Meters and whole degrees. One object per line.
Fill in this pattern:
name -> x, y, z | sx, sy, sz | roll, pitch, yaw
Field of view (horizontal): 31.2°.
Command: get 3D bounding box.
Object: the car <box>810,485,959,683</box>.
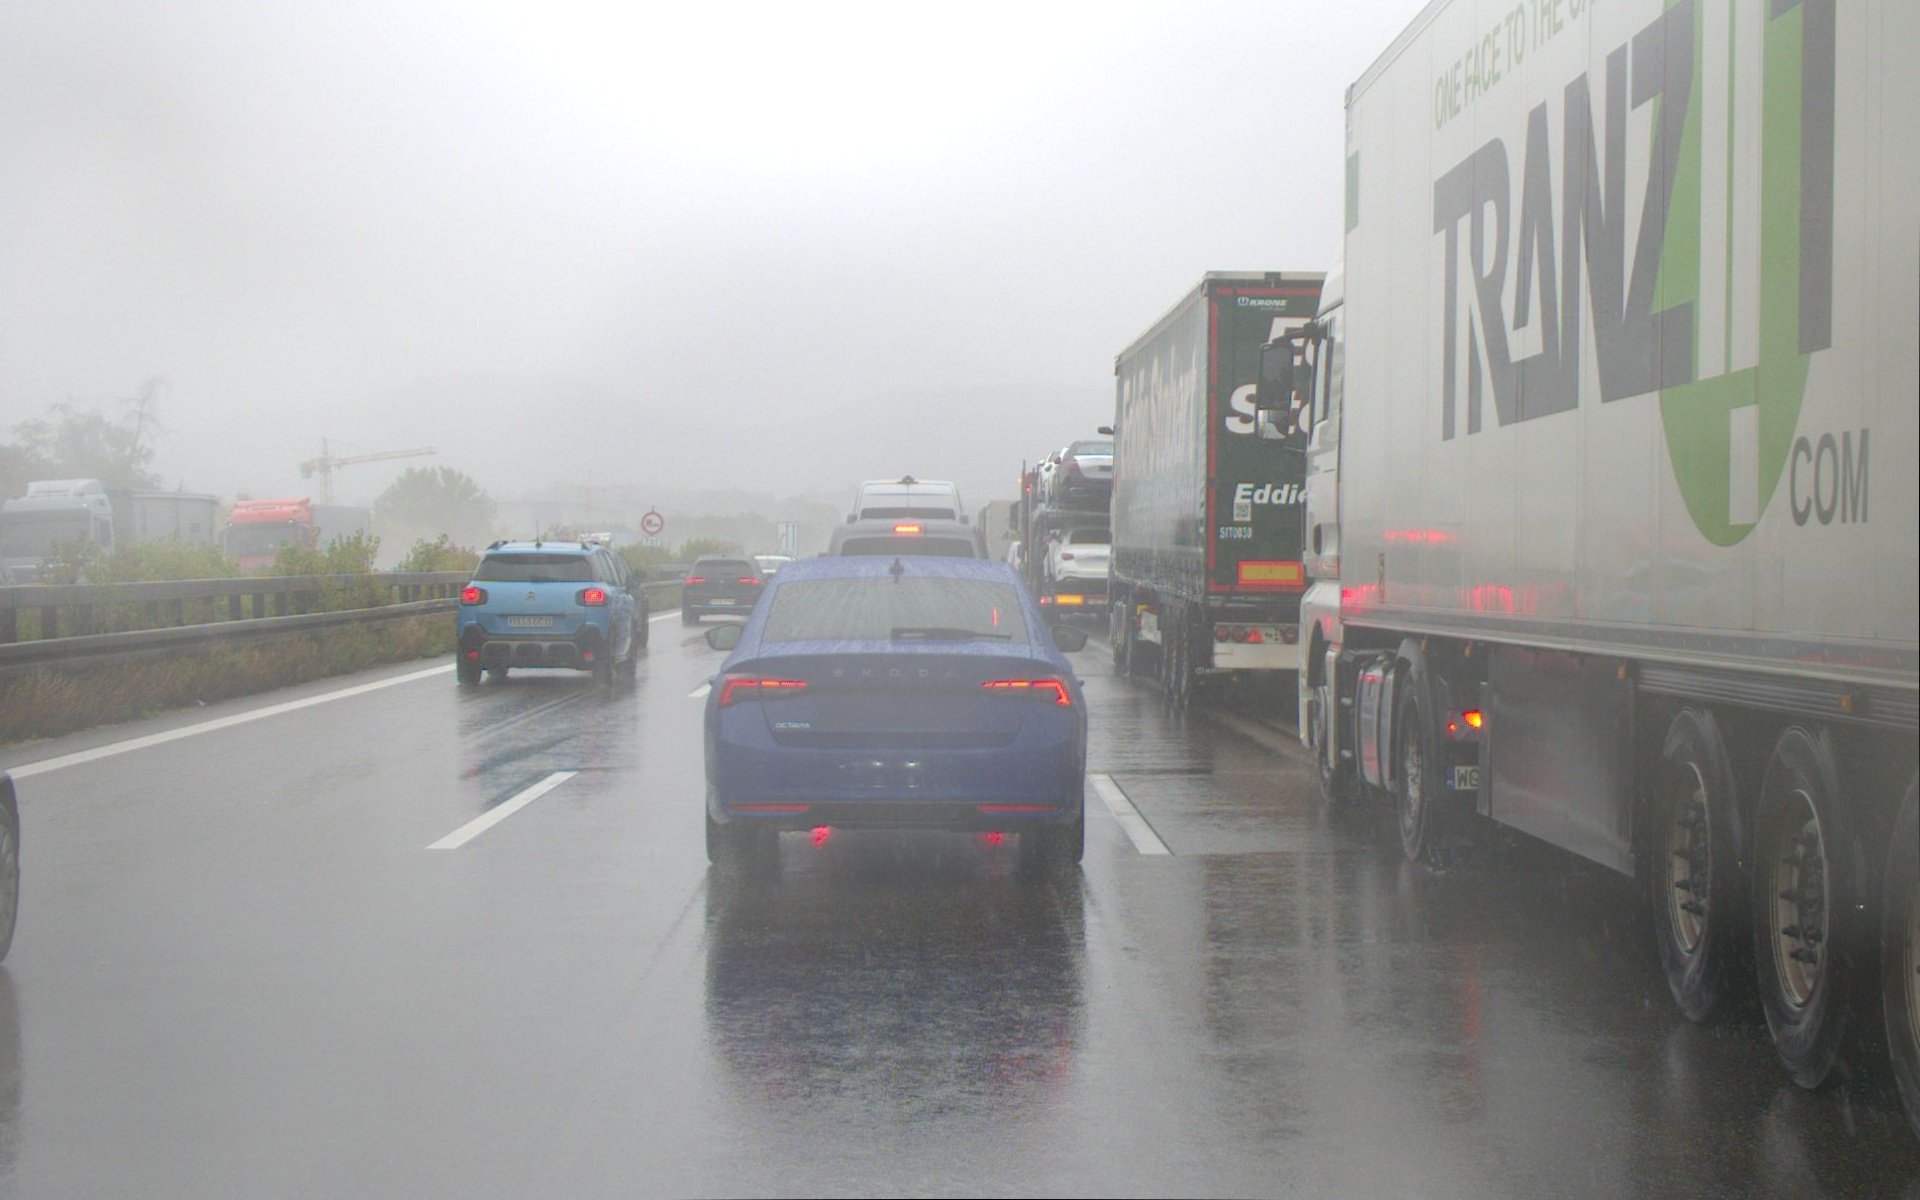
car -> -0.694, -0.185, 32.487 | 1.336, 1.773, 3.322 | 0, 1, 0

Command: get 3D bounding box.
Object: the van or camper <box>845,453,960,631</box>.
van or camper -> -0.928, -0.962, 56.429 | 1.797, 2.797, 4.768 | 0, 1, 0

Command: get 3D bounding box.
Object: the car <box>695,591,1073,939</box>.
car -> -0.320, 0.707, 16.858 | 1.635, 1.440, 4.000 | 0, 1, 0

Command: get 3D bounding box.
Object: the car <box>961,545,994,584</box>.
car -> 0.710, -1.450, 138.857 | 1.248, 1.507, 3.108 | -1, 2, -1

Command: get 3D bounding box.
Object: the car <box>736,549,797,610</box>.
car -> -5.059, -0.556, 90.280 | 1.439, 1.528, 3.322 | 0, 1, 0

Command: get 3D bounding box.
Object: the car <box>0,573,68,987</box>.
car -> -4.125, 0.636, 10.396 | 1.718, 1.395, 4.230 | 0, 1, 1

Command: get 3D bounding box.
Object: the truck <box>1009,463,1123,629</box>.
truck -> 2.236, -1.231, 74.602 | 1.993, 3.410, 8.033 | 0, 2, -2

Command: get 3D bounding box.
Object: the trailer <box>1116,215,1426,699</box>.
trailer -> 2.932, -1.360, 35.295 | 2.047, 4.162, 11.449 | 0, 1, 0

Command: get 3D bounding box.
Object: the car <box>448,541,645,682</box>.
car -> -4.639, 0.091, 39.075 | 1.722, 1.518, 4.000 | 0, 1, 1

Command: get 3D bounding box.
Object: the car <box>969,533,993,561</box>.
car -> 1.325, -3.375, 218.119 | 1.448, 1.777, 3.409 | 1, 1, 0

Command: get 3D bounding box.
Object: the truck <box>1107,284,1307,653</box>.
truck -> 2.884, -1.539, 40.975 | 2.047, 4.178, 4.000 | 0, 1, 0

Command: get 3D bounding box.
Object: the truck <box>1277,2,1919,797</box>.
truck -> 3.305, -1.012, 18.917 | 2.630, 3.814, 4.791 | 0, 1, 0

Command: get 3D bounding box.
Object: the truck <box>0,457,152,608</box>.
truck -> -21.875, -1.659, 85.217 | 2.686, 3.599, 4.606 | 1, 1, -1

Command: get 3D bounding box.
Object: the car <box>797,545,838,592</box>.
car -> -5.517, -1.227, 133.569 | 1.448, 1.777, 3.409 | 1, 1, 0

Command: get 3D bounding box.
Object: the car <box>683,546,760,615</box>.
car -> -5.044, -0.430, 73.026 | 1.439, 1.415, 3.322 | 0, 1, 0

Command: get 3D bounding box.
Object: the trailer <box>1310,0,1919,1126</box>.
trailer -> 3.372, -0.959, 12.225 | 2.630, 3.999, 14.630 | 0, 1, 0

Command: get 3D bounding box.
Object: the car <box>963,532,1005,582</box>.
car -> 0.876, -1.590, 126.369 | 1.448, 1.777, 3.409 | 1, 1, 0
